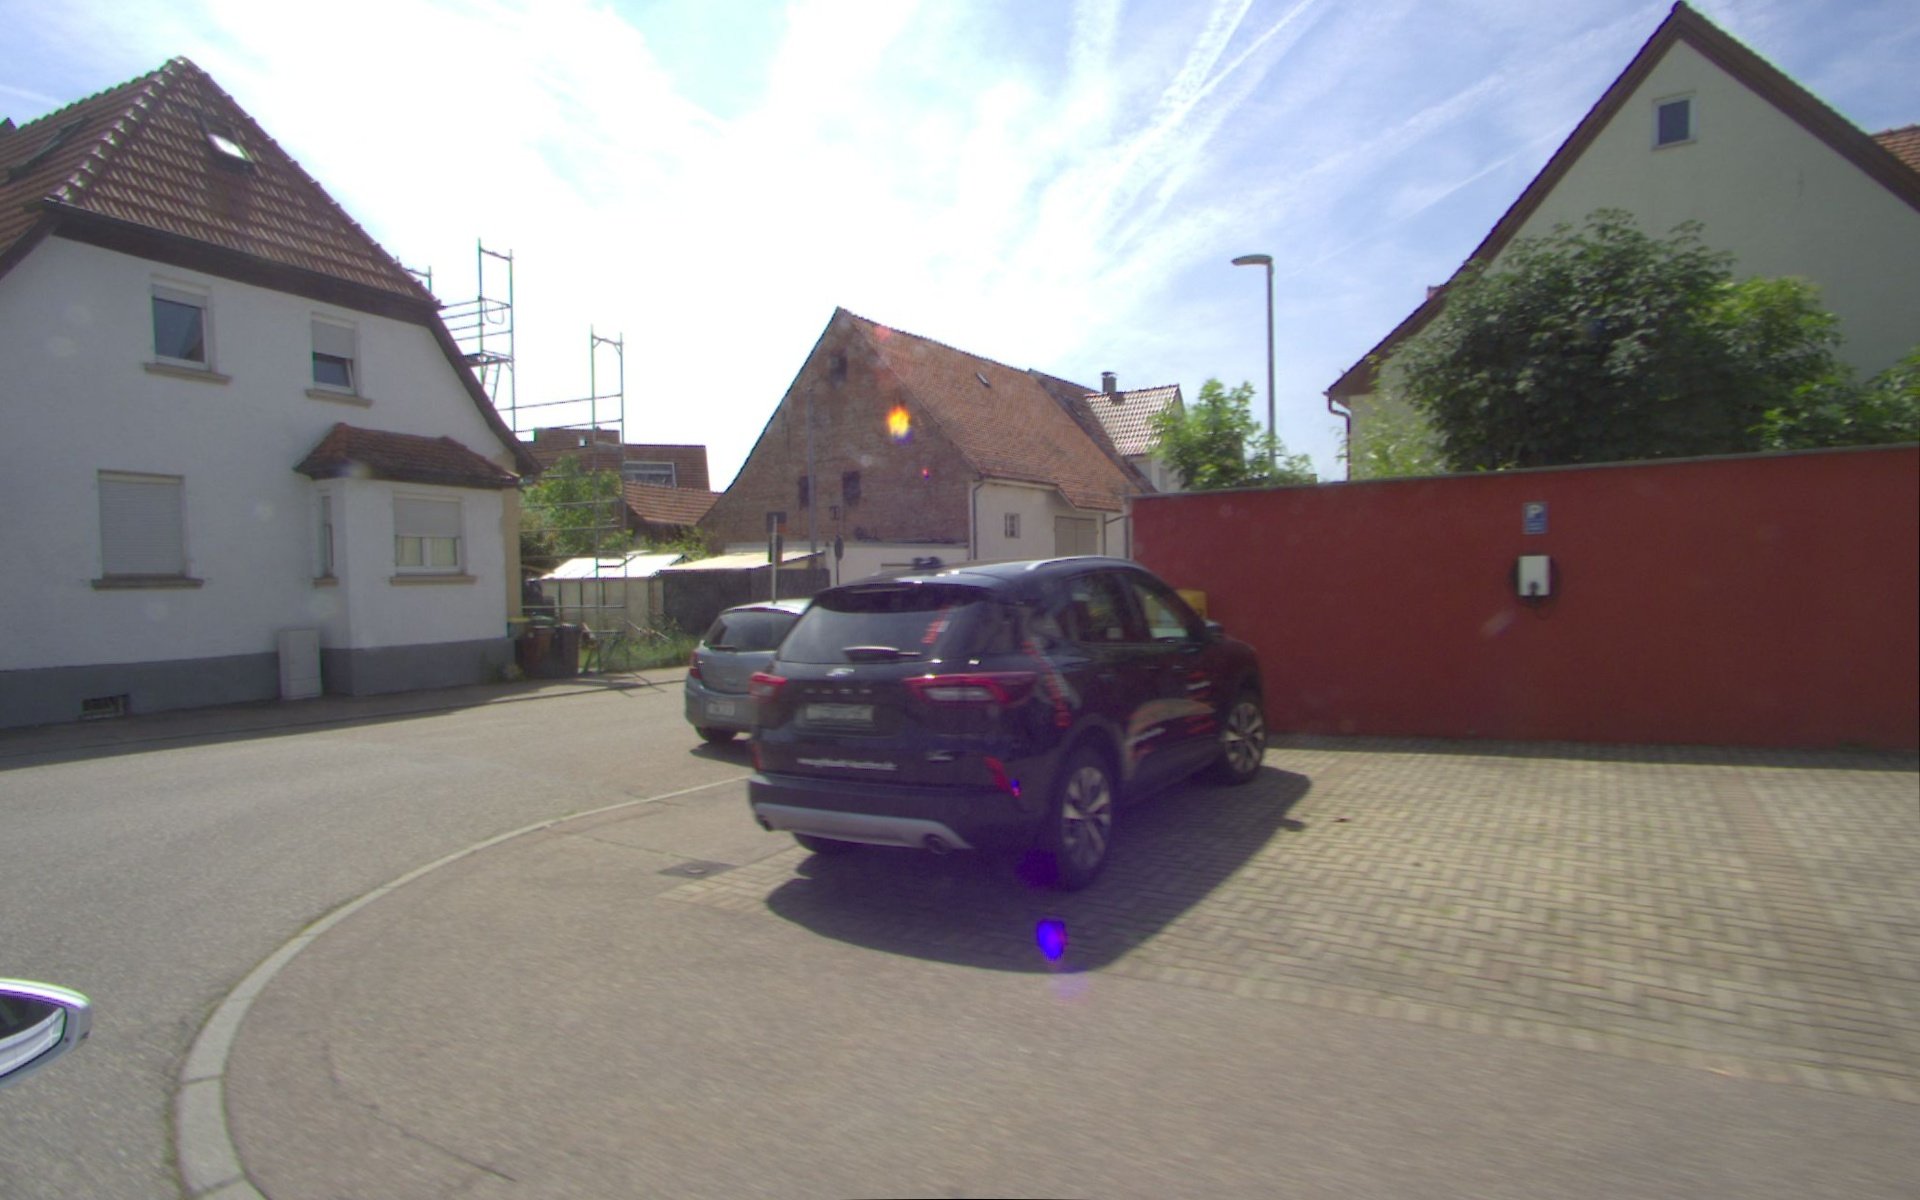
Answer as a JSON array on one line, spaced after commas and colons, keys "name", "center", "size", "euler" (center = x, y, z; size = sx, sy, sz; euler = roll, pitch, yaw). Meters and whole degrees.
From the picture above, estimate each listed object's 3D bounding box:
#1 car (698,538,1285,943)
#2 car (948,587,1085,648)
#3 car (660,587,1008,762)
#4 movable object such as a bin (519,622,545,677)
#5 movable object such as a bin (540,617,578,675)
[{"name": "car", "center": [0.589, 0.560, 6.438], "size": [1.822, 1.675, 4.282], "euler": [-1, 1, 33]}, {"name": "car", "center": [1.537, 0.407, 25.997], "size": [1.681, 1.409, 3.973], "euler": [-1, 1, 36]}, {"name": "car", "center": [-1.190, 0.644, 11.147], "size": [1.670, 1.524, 3.976], "euler": [1, 2, 33]}, {"name": "movable object such as a bin", "center": [-7.603, 0.883, 17.791], "size": [0.354, 0.959, 0.227], "euler": [-1, 1, 22]}, {"name": "movable object such as a bin", "center": [-7.256, 0.826, 18.119], "size": [0.284, 1.005, 0.584], "euler": [-1, 1, 23]}]
